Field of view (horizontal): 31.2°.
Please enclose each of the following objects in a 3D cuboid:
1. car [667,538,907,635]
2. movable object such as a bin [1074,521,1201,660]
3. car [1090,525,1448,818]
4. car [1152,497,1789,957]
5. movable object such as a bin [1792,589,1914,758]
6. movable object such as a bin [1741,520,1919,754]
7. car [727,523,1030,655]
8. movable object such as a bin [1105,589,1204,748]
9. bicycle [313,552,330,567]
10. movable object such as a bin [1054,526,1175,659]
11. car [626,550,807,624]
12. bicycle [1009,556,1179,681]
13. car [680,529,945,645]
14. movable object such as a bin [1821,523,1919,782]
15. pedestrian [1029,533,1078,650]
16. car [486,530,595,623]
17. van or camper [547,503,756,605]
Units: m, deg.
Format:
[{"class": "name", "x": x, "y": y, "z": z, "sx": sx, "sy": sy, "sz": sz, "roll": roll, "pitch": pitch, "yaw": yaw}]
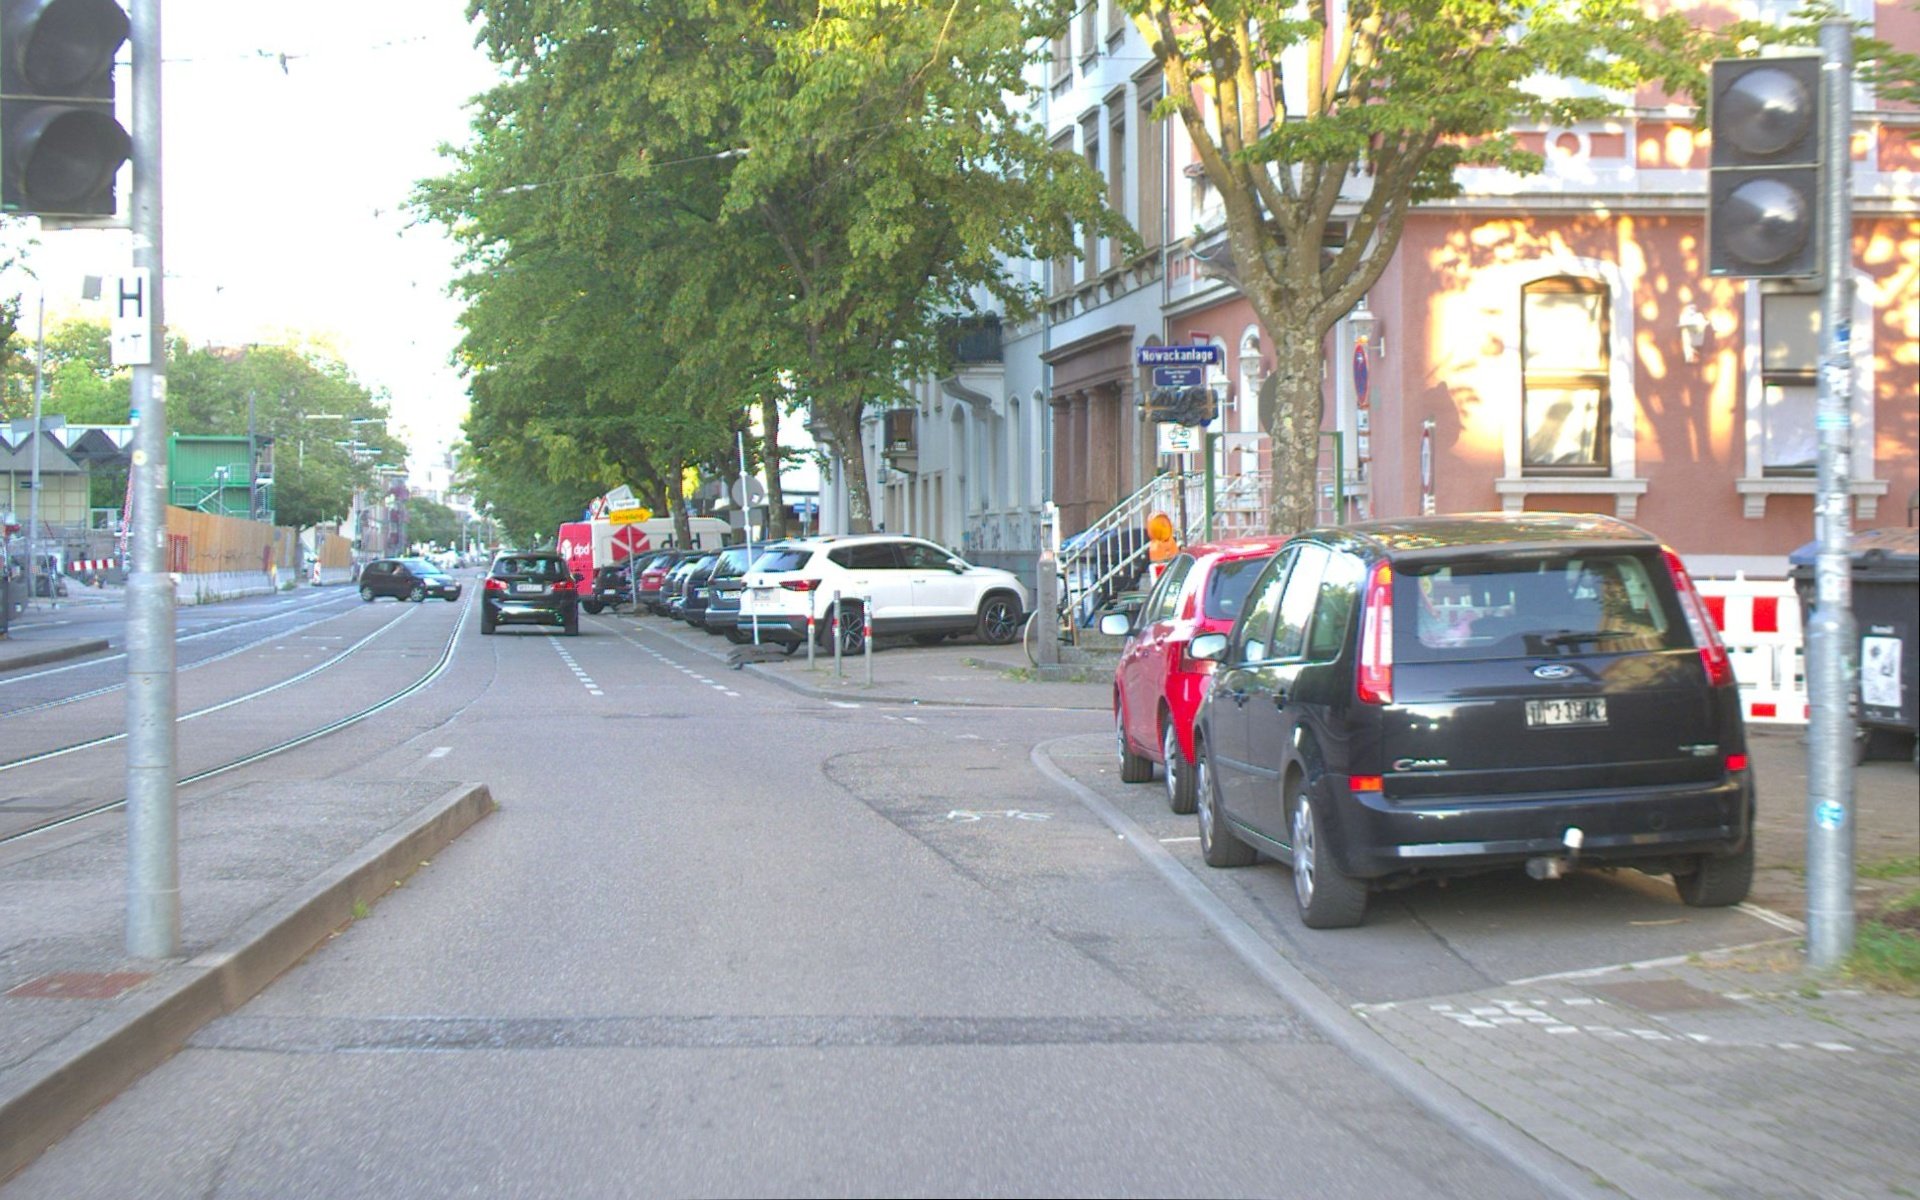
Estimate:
[{"class": "car", "x": -3.090, "y": -0.250, "z": 61.866, "sx": 3.943, "sy": 1.598, "sz": 1.840, "roll": -2, "pitch": 0, "yaw": -39}, {"class": "movable object such as a bin", "x": 1.943, "y": -0.112, "z": 37.892, "sx": 1.140, "sy": 1.497, "sz": 1.399, "roll": 0, "pitch": 1, "yaw": -8}, {"class": "car", "x": 1.744, "y": 0.359, "z": 20.439, "sx": 1.564, "sy": 1.531, "sz": 3.693, "roll": -2, "pitch": 1, "yaw": -3}, {"class": "car", "x": 2.001, "y": 0.437, "z": 14.694, "sx": 1.743, "sy": 1.626, "sz": 4.089, "roll": -2, "pitch": 1, "yaw": -5}, {"class": "movable object such as a bin", "x": 5.624, "y": 0.459, "z": 21.680, "sx": 0.553, "sy": 1.044, "sz": 0.571, "roll": 0, "pitch": 1, "yaw": -9}, {"class": "movable object such as a bin", "x": 6.051, "y": 0.228, "z": 22.904, "sx": 1.140, "sy": 1.497, "sz": 1.598, "roll": 0, "pitch": 1, "yaw": -8}, {"class": "car", "x": -1.104, "y": -0.178, "z": 47.704, "sx": 3.943, "sy": 1.621, "sz": 1.673, "roll": -4, "pitch": 3, "yaw": -38}, {"class": "movable object such as a bin", "x": 1.450, "y": 0.499, "z": 25.513, "sx": 0.712, "sy": 1.149, "sz": 0.588, "roll": 1, "pitch": 1, "yaw": 5}, {"class": "bicycle", "x": -36.270, "y": -2.320, "z": 195.257, "sx": 0.947, "sy": 0.846, "sz": 2.697, "roll": 0, "pitch": 1, "yaw": -11}, {"class": "movable object such as a bin", "x": 1.758, "y": -0.095, "z": 39.353, "sx": 1.140, "sy": 1.497, "sz": 1.399, "roll": 0, "pitch": 1, "yaw": -8}, {"class": "car", "x": -5.939, "y": -0.328, "z": 83.955, "sx": 3.943, "sy": 1.598, "sz": 1.840, "roll": -3, "pitch": 1, "yaw": -34}, {"class": "bicycle", "x": 1.421, "y": 0.179, "z": 36.181, "sx": 1.913, "sy": 1.262, "sz": 0.601, "roll": -1, "pitch": 1, "yaw": -42}, {"class": "car", "x": -2.355, "y": -0.226, "z": 55.575, "sx": 3.945, "sy": 1.663, "sz": 1.900, "roll": -4, "pitch": 1, "yaw": -44}, {"class": "movable object such as a bin", "x": 5.959, "y": 0.296, "z": 20.648, "sx": 1.072, "sy": 1.497, "sz": 1.319, "roll": 0, "pitch": 1, "yaw": -10}, {"class": "pedestrian", "x": 1.291, "y": -0.120, "z": 47.419, "sx": 0.586, "sy": 1.604, "sz": 0.625, "roll": 0, "pitch": 1, "yaw": -7}, {"class": "car", "x": -7.904, "y": -0.457, "z": 64.559, "sx": 1.881, "sy": 1.614, "sz": 4.001, "roll": 2, "pitch": 0, "yaw": -8}, {"class": "van or camper", "x": -8.542, "y": -1.284, "z": 95.647, "sx": 5.535, "sy": 2.522, "sz": 2.085, "roll": -4, "pitch": 2, "yaw": -42}]
